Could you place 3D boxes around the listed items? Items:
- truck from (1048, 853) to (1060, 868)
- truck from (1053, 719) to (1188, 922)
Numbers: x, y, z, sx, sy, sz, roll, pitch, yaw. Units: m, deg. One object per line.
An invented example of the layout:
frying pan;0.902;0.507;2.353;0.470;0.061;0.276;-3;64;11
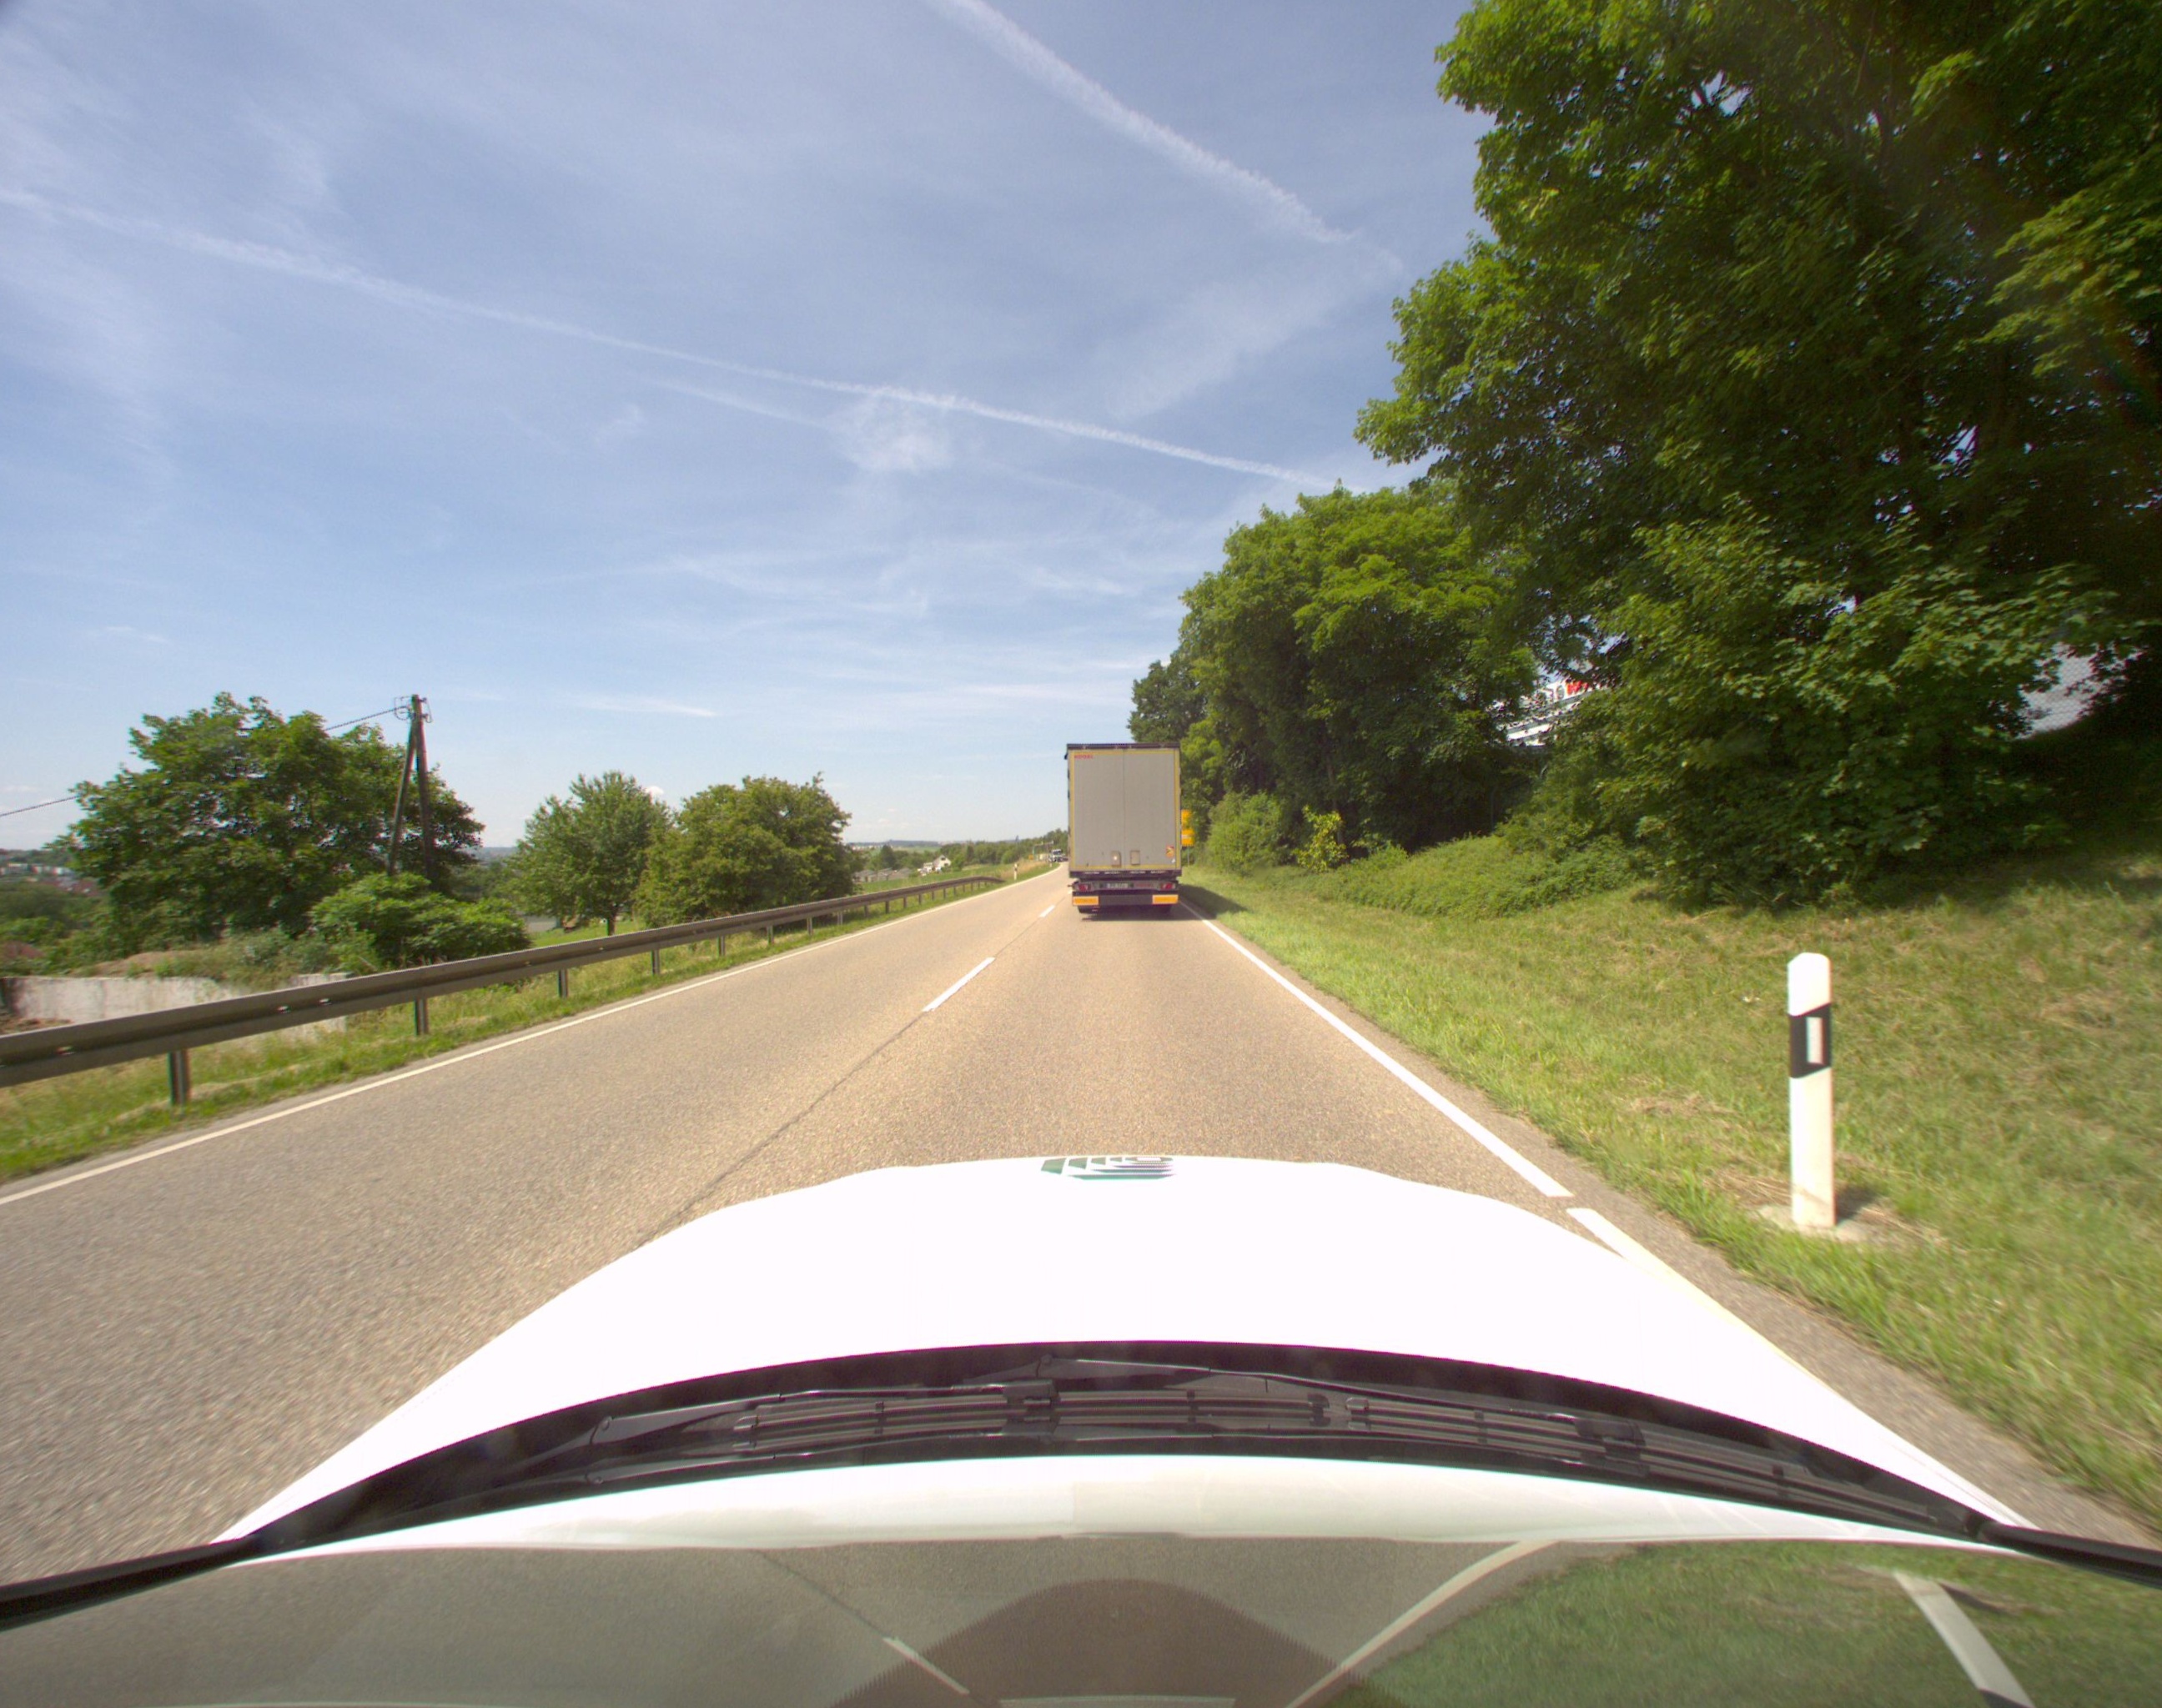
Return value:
truck;-7.035;1.809;209.804;2.750;3.576;11.051;-4;-1;-3
truck;1.094;-0.737;22.261;2.895;4.410;8.867;-1;0;3
